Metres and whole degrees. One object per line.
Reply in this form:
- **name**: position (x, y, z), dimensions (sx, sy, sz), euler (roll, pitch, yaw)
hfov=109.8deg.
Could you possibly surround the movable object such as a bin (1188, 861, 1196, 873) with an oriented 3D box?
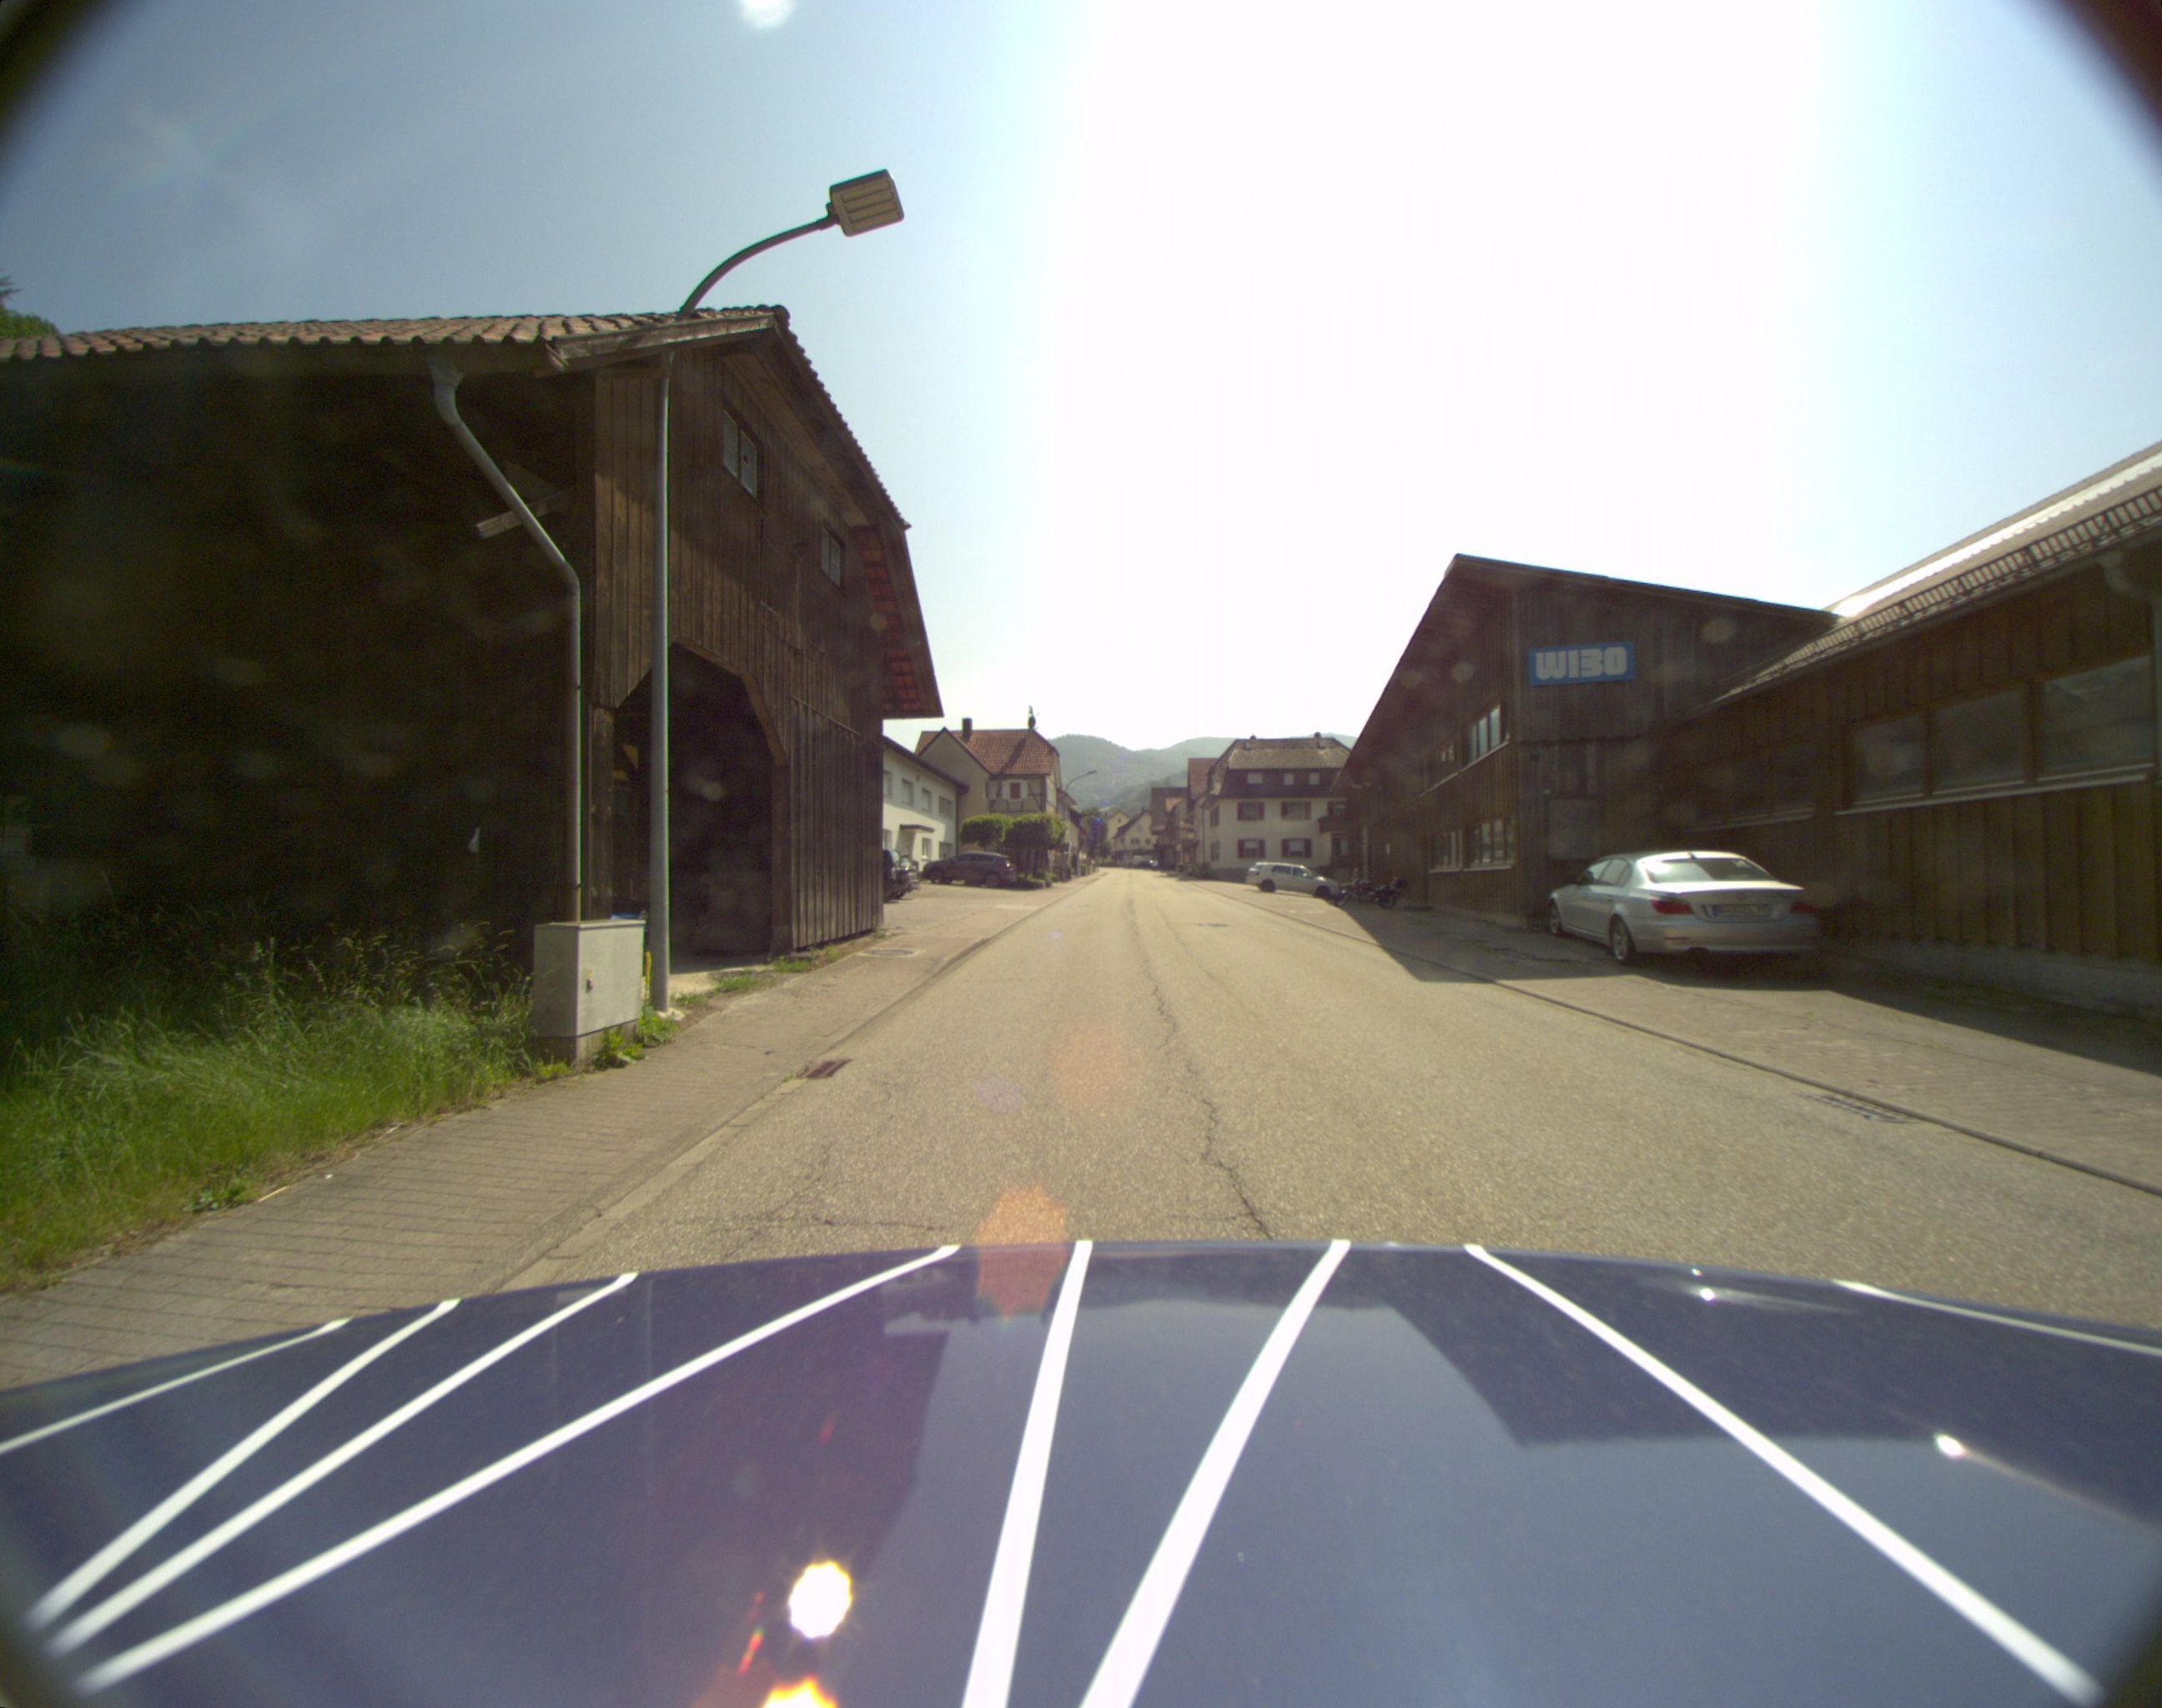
- **movable object such as a bin**: position (9.875, 1.181, 67.779), dimensions (0.677, 1.060, 0.621), euler (0, 0, 2)

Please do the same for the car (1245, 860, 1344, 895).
- **car**: position (10.800, 1.167, 38.491), dimensions (4.431, 1.466, 1.928), euler (3, 1, 29)

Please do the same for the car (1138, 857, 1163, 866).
- **car**: position (11.682, 1.229, 128.475), dimensions (4.104, 1.494, 1.754), euler (0, 0, 2)

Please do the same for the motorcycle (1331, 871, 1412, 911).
- **motorcycle**: position (9.600, 1.208, 25.180), dimensions (2.412, 1.257, 0.744), euler (0, 0, 14)

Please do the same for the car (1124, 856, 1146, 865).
- **car**: position (9.987, 1.267, 140.757), dimensions (3.995, 1.563, 1.577), euler (1, 0, 5)

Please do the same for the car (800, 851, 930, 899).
- **car**: position (-8.273, 0.792, 29.418), dimensions (4.429, 1.749, 1.953), euler (1, 0, 3)

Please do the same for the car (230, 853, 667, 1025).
- **car**: position (-6.879, 0.781, 8.339), dimensions (3.991, 1.499, 1.874), euler (1, -1, 20)

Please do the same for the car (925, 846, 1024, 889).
- **car**: position (-5.026, 0.642, 36.169), dimensions (4.228, 1.677, 1.778), euler (4, 1, 7)

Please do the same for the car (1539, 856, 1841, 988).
- **car**: position (8.210, 0.794, 10.876), dimensions (1.731, 1.445, 4.811), euler (-1, -1, 18)

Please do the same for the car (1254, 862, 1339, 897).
- **car**: position (10.124, 1.164, 35.669), dimensions (3.662, 1.377, 1.713), euler (4, 1, 19)

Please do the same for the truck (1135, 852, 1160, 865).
- **truck**: position (11.649, 0.827, 133.470), dimensions (4.177, 2.253, 2.000), euler (-1, 0, -2)

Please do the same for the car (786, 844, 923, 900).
- **car**: position (-7.762, 0.612, 26.310), dimensions (4.137, 1.822, 1.954), euler (1, 0, 0)

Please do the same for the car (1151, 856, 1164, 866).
- **car**: position (12.169, 1.141, 120.943), dimensions (1.774, 1.544, 4.286), euler (-2, 0, 1)

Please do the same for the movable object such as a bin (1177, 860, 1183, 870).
- **movable object such as a bin**: position (11.491, 1.267, 88.138), dimensions (0.719, 1.174, 0.598), euler (1, 0, 4)
